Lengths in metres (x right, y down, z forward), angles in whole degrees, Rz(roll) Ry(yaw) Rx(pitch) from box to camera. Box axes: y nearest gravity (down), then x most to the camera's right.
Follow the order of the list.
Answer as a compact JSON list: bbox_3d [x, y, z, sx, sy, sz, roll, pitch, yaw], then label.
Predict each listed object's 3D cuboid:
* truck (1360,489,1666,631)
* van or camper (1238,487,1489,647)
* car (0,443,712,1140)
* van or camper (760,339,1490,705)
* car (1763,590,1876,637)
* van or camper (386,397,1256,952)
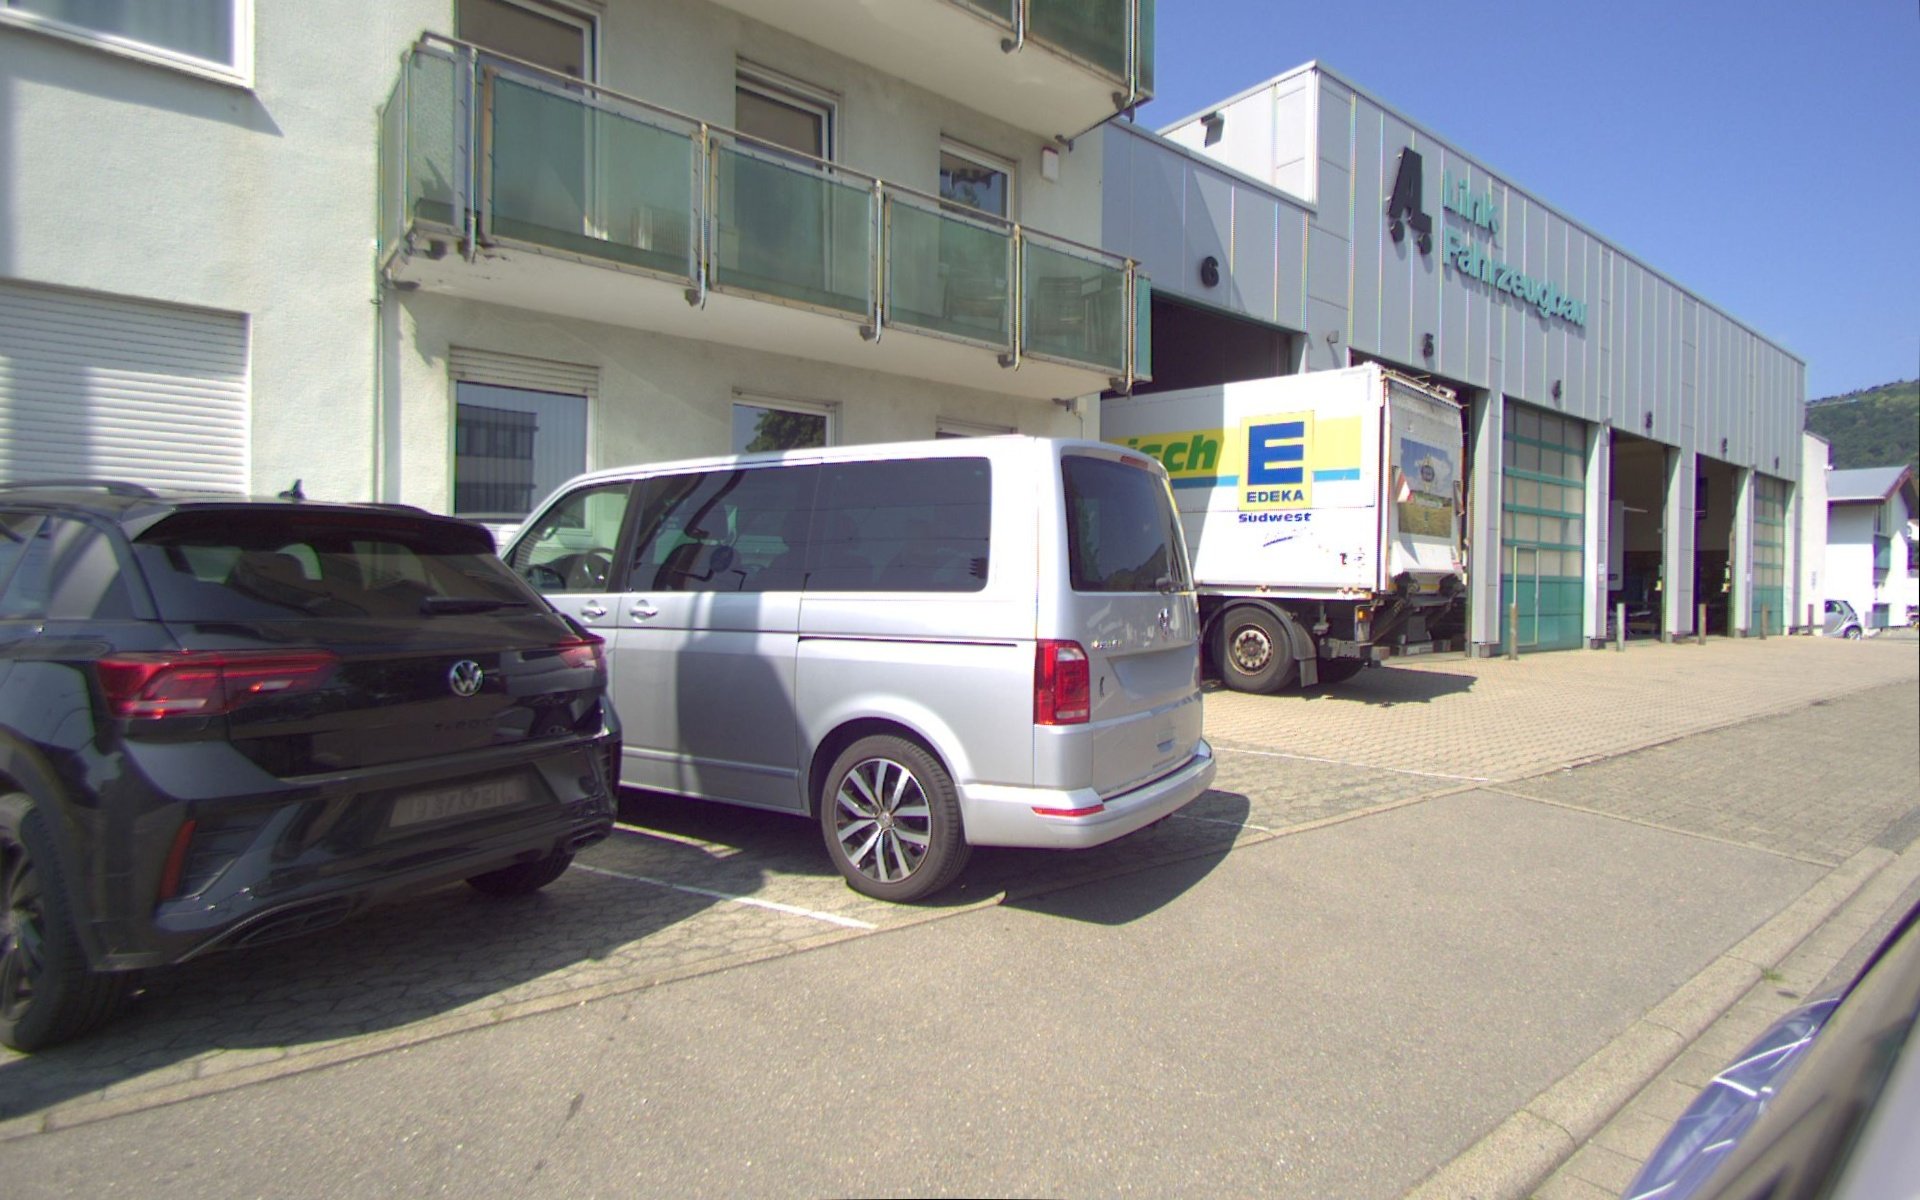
[{"bbox_3d":[16.645,-1.200,31.120,2.576,3.828,7.858,0,2,-37],"label":"truck"},{"bbox_3d":[9.086,-0.724,23.202,1.965,3.246,5.052,-1,1,-40],"label":"van or camper"},{"bbox_3d":[-3.116,0.371,3.973,3.935,1.540,1.863,1,1,27],"label":"car"},{"bbox_3d":[1.371,-0.954,15.448,2.736,3.739,11.606,0,2,-45],"label":"van or camper"},{"bbox_3d":[30.385,0.466,35.817,2.773,1.553,1.311,1,-1,5],"label":"car"},{"bbox_3d":[-0.919,0.181,5.566,4.521,1.931,1.978,2,1,32],"label":"van or camper"}]
